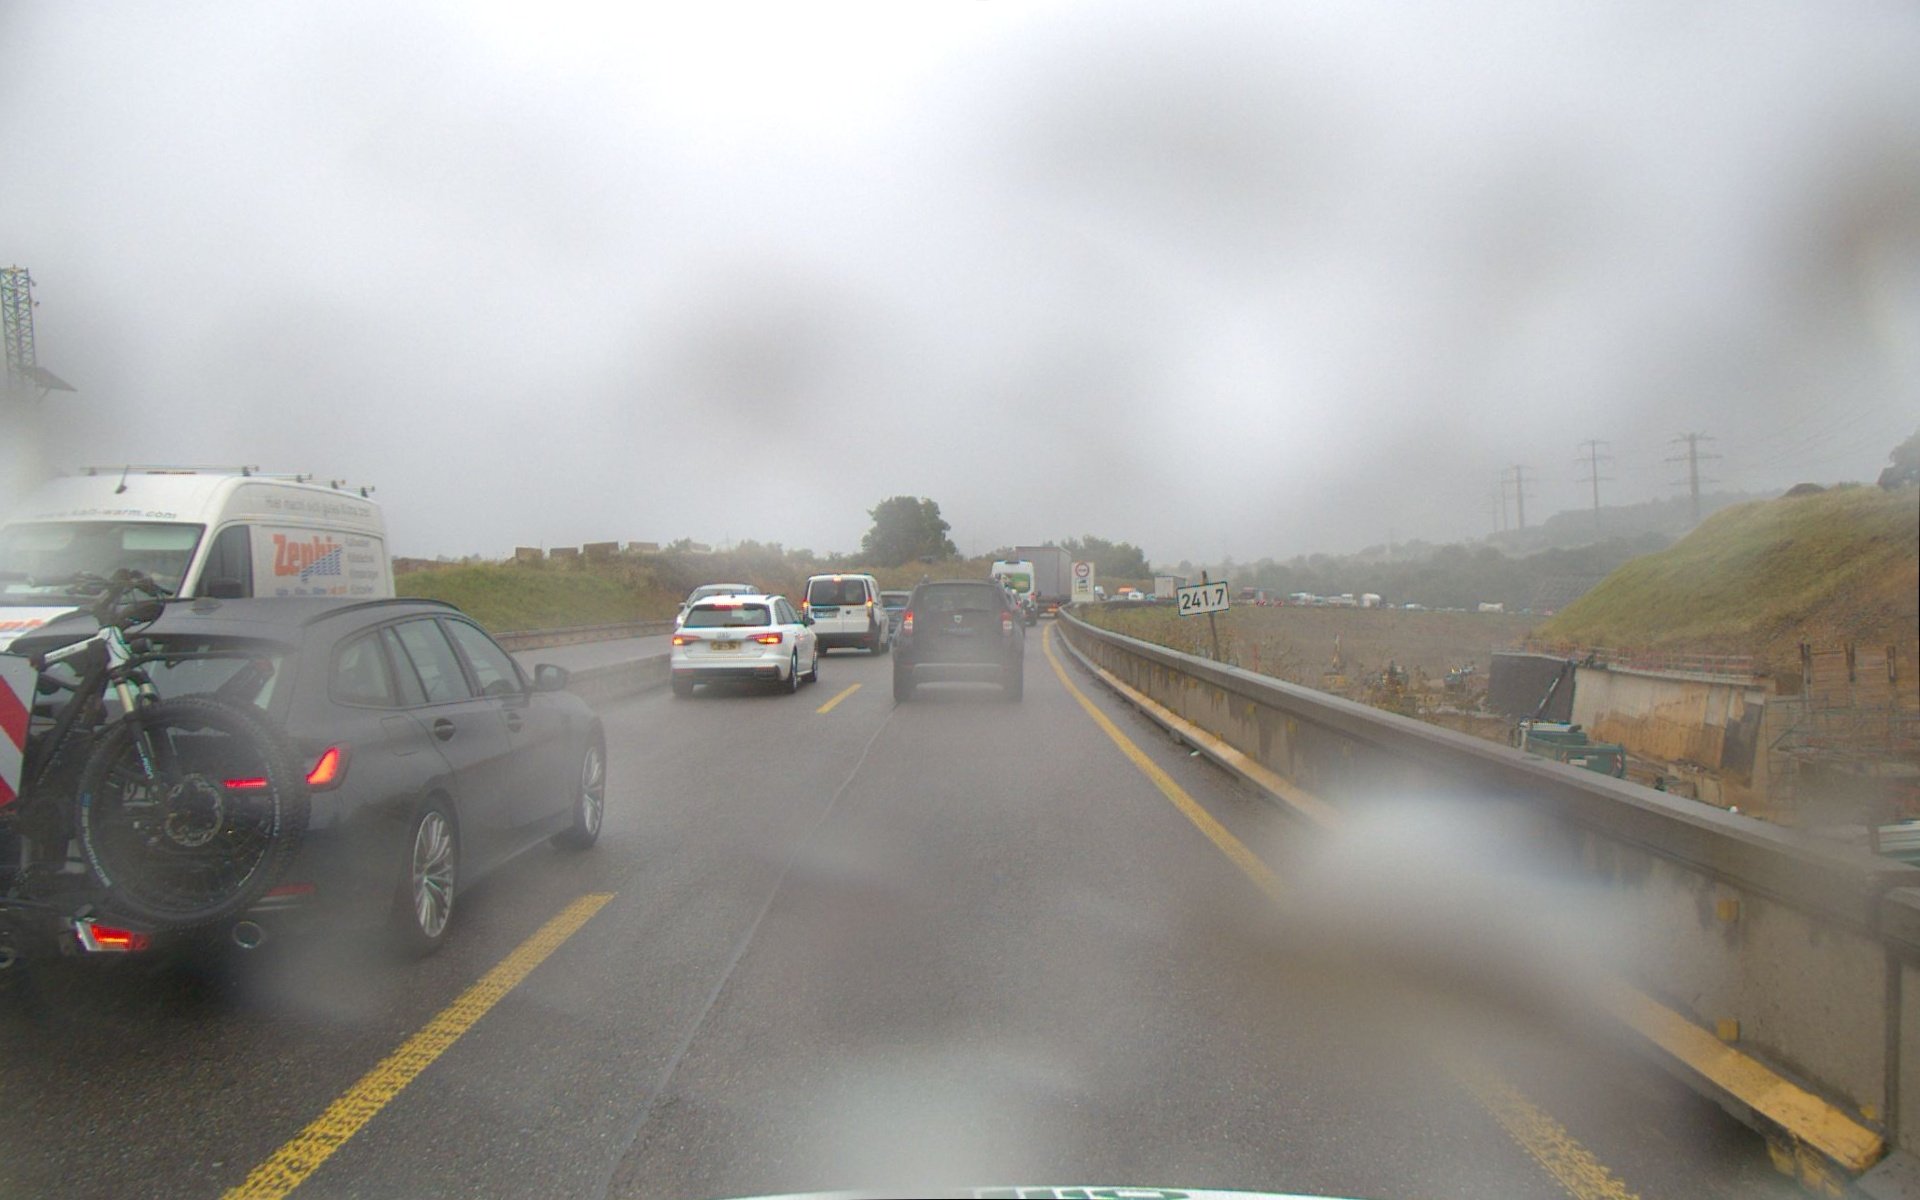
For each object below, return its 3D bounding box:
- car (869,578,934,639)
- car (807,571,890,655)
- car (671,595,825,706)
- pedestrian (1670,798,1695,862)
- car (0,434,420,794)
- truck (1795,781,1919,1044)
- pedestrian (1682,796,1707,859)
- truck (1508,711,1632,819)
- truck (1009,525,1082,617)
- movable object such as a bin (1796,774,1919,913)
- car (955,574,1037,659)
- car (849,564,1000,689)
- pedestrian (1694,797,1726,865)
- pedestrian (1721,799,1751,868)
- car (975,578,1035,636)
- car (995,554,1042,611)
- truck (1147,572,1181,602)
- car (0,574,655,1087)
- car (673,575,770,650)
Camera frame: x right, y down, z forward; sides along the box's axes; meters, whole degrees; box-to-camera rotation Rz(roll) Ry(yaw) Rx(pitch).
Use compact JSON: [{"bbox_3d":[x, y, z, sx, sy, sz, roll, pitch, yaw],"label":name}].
[{"bbox_3d":[-1.828,0.272,52.689,1.788,1.847,4.001,0,-1,2],"label":"car"},{"bbox_3d":[-2.562,0.311,38.799,1.789,1.847,3.998,1,-1,-2],"label":"car"},{"bbox_3d":[-3.108,0.720,25.007,1.789,1.525,4.000,0,-1,0],"label":"car"},{"bbox_3d":[22.715,7.226,52.002,0.561,1.902,0.736,0,-1,9],"label":"pedestrian"},{"bbox_3d":[-6.853,0.074,14.960,1.983,2.593,5.957,-1,1,0],"label":"car"},{"bbox_3d":[15.701,4.854,23.851,2.645,3.565,8.945,0,-1,-1],"label":"truck"},{"bbox_3d":[23.396,7.238,52.660,0.564,1.902,0.732,0,-1,38],"label":"pedestrian"},{"bbox_3d":[24.741,6.572,67.567,2.672,3.552,9.071,0,-1,7],"label":"truck"},{"bbox_3d":[5.193,-1.581,98.051,3.468,5.166,10.449,0,-1,8],"label":"truck"},{"bbox_3d":[21.582,5.574,38.217,3.084,2.786,2.969,0,-1,2],"label":"movable object such as a bin"},{"bbox_3d":[0.831,0.385,38.429,1.788,1.847,4.000,0,-1,1],"label":"car"},{"bbox_3d":[-0.411,0.362,23.525,1.788,1.619,4.002,0,-1,4],"label":"car"},{"bbox_3d":[23.181,7.124,51.133,0.566,1.978,0.729,1,-1,-26],"label":"pedestrian"},{"bbox_3d":[23.683,7.123,50.465,0.721,1.978,0.572,0,-1,40],"label":"pedestrian"},{"bbox_3d":[1.533,0.237,54.585,1.788,1.847,4.002,0,-1,4],"label":"car"},{"bbox_3d":[2.624,-0.749,73.709,1.787,2.480,4.160,0,-1,6],"label":"car"},{"bbox_3d":[27.158,-1.742,219.763,3.398,3.780,8.424,-1,0,14],"label":"truck"},{"bbox_3d":[-2.843,0.662,7.867,1.699,1.488,5.630,0,2,0],"label":"car"},{"bbox_3d":[-5.849,0.287,40.995,1.753,1.754,4.288,0,0,0],"label":"car"}]
